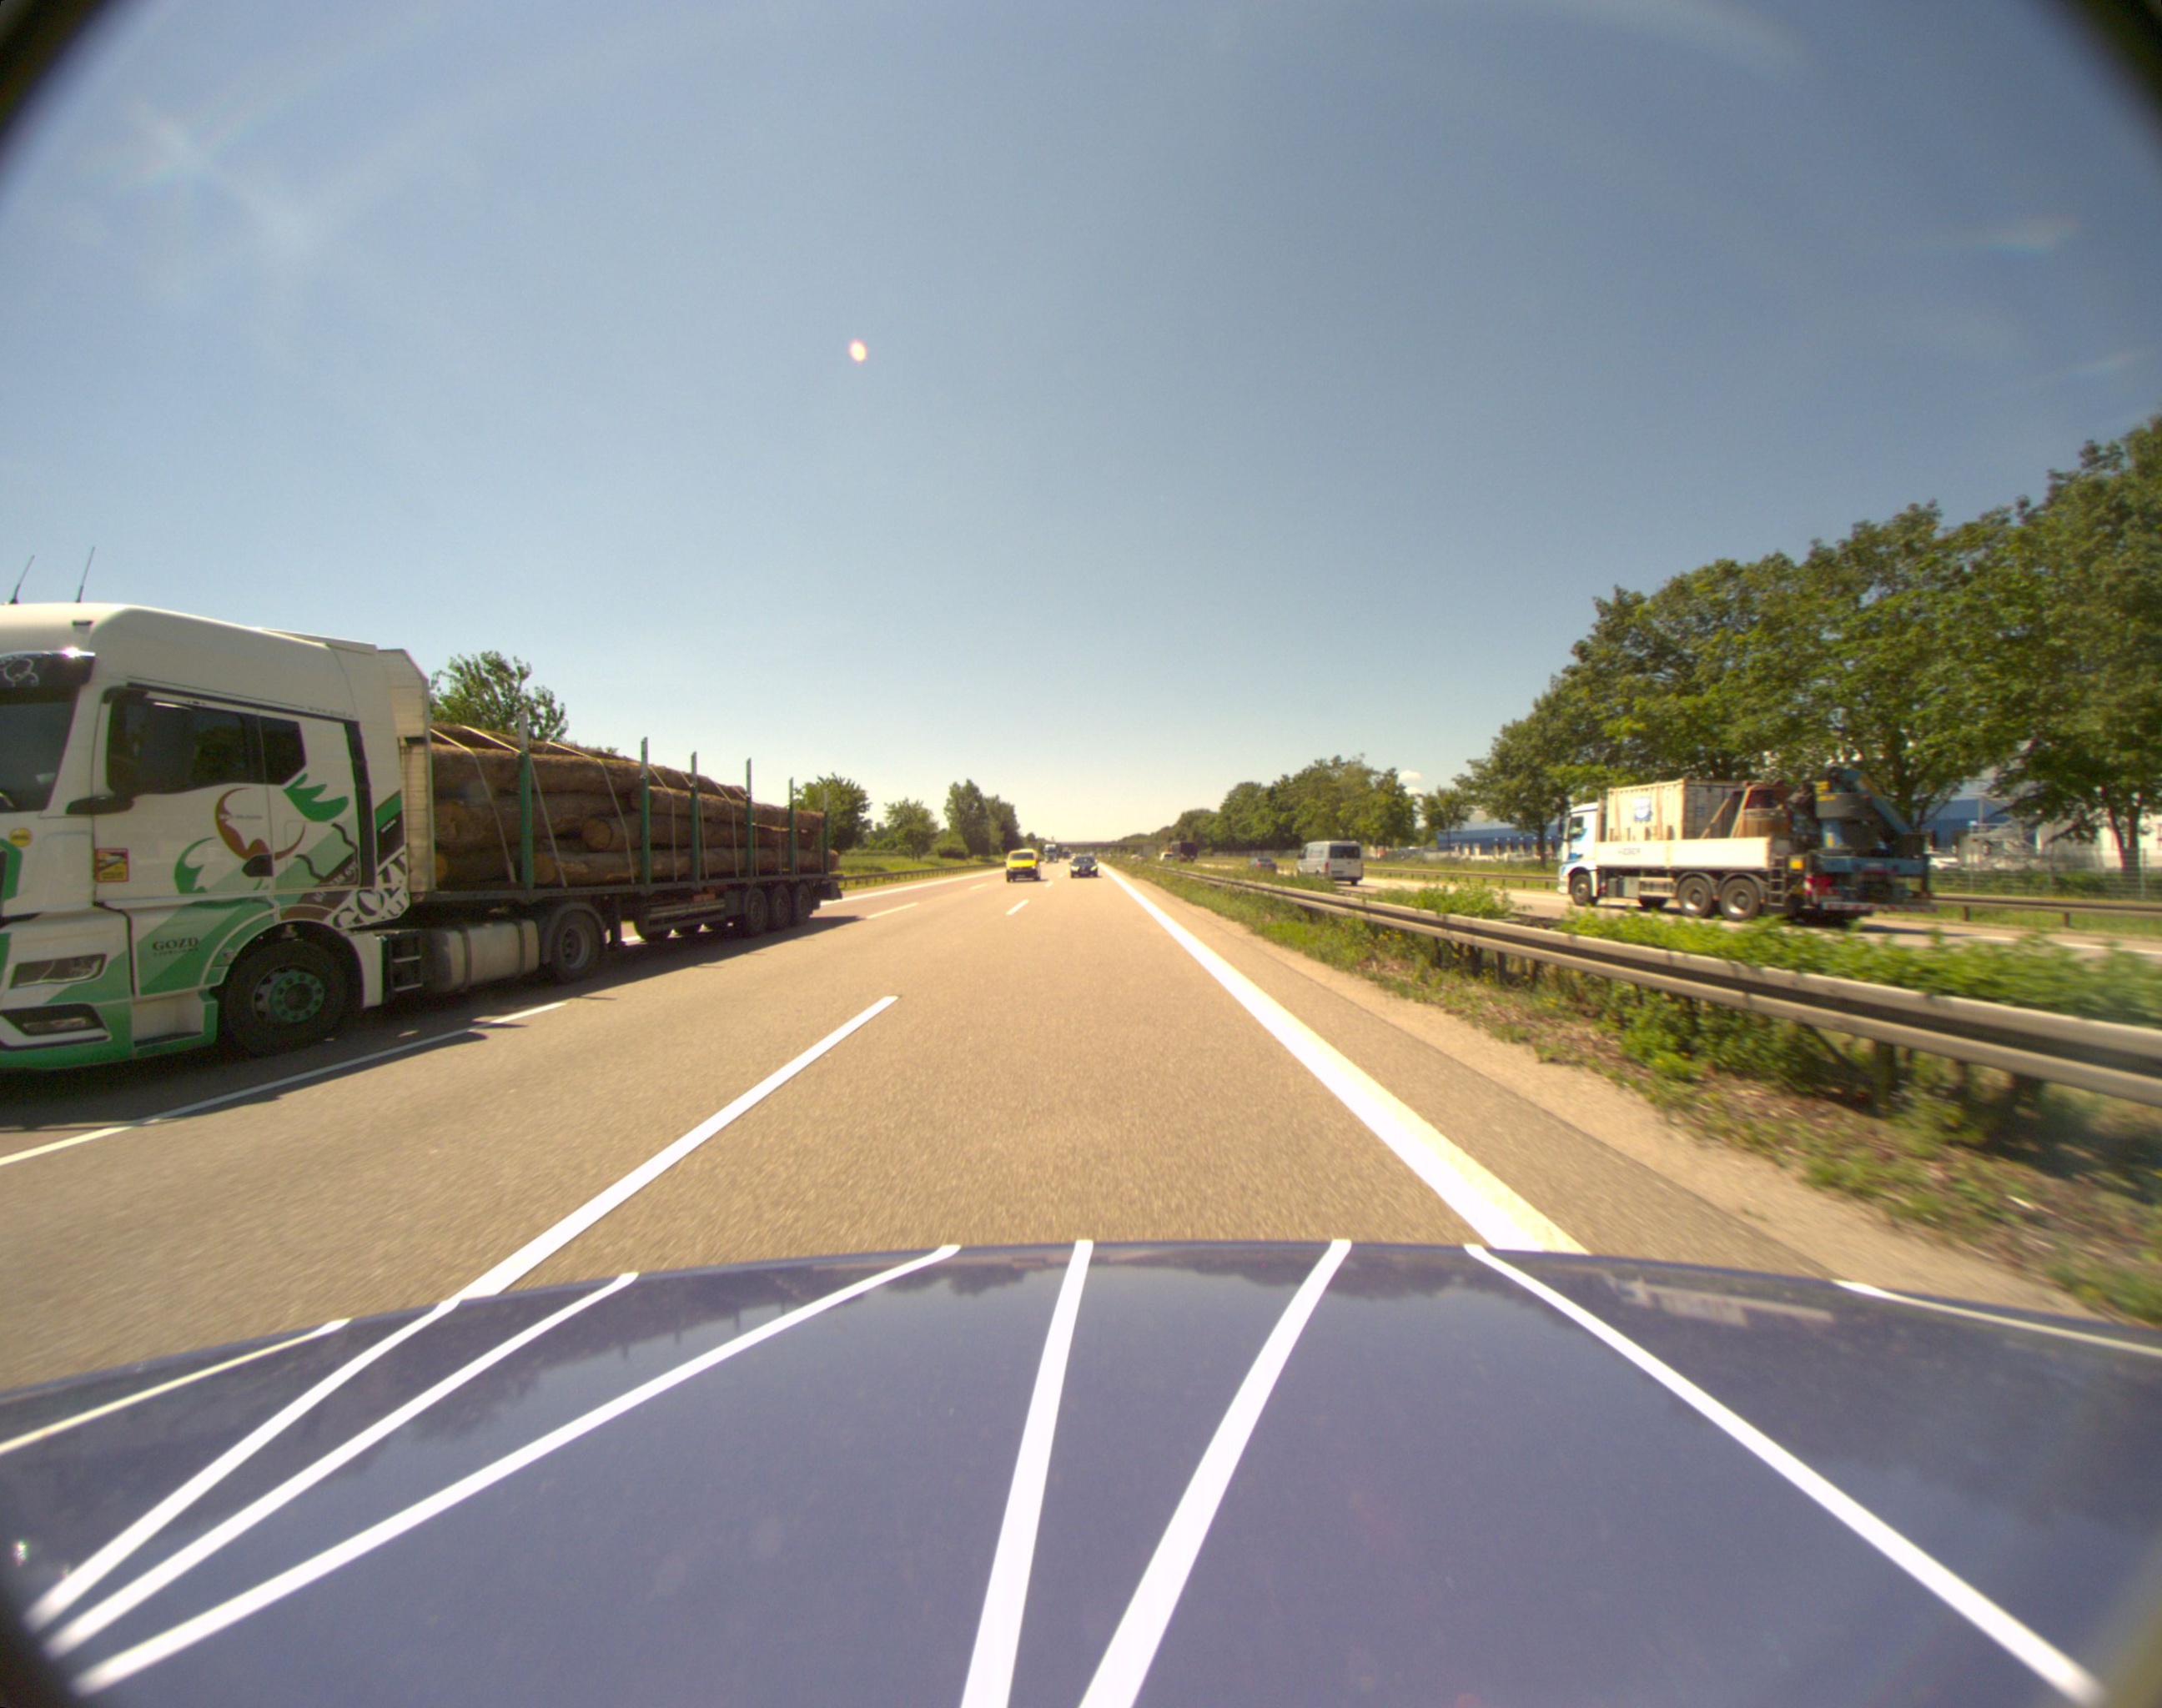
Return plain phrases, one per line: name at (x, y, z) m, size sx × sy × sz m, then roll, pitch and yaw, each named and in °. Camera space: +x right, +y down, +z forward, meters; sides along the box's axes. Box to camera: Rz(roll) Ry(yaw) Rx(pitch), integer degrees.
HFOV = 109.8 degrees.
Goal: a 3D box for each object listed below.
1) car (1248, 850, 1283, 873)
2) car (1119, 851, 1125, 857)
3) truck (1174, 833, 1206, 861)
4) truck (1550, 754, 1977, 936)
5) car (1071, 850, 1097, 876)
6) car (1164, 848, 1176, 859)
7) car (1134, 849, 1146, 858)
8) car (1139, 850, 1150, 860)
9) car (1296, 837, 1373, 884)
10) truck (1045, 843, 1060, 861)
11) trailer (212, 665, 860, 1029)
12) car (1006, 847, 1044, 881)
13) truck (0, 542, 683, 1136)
car at (14.316, 0.573, 59.185) m, size 1.916 × 1.695 × 3.781 m, roll 1°, pitch 0°, yaw 3°
car at (13.557, -0.115, 251.343) m, size 1.898 × 1.871 × 4.000 m, roll -2°, pitch 1°, yaw 2°
truck at (19.367, -1.317, 135.996) m, size 4.428 × 4.580 × 11.981 m, roll -2°, pitch 1°, yaw 3°
truck at (17.186, -0.242, 20.636) m, size 3.012 × 3.769 × 9.600 m, roll 0°, pitch 1°, yaw 1°
car at (0.228, 0.585, 51.696) m, size 1.690 × 1.646 × 3.461 m, roll -2°, pitch 1°, yaw 1°
car at (14.597, -0.091, 124.908) m, size 1.682 × 1.645 × 3.850 m, roll -2°, pitch 1°, yaw 2°
car at (11.898, -0.137, 153.782) m, size 1.998 × 1.718 × 3.999 m, roll -2°, pitch 1°, yaw 0°
car at (10.600, 0.090, 125.811) m, size 1.693 × 1.503 × 3.879 m, roll -2°, pitch 1°, yaw 6°
car at (13.411, 0.308, 40.633) m, size 2.317 × 2.275 × 5.603 m, roll 1°, pitch 0°, yaw 2°
truck at (-6.161, -0.507, 166.450) m, size 2.976 × 3.626 × 7.148 m, roll -2°, pitch 1°, yaw -1°
trailer at (-8.076, -0.113, 15.411) m, size 2.699 × 3.943 × 13.960 m, roll -2°, pitch 0°, yaw 1°
car at (-3.440, 0.579, 47.322) m, size 1.958 × 1.939 × 3.999 m, roll -2°, pitch 1°, yaw 1°
truck at (-8.189, -0.067, 8.926) m, size 2.699 × 3.943 × 7.703 m, roll -2°, pitch 0°, yaw 1°
